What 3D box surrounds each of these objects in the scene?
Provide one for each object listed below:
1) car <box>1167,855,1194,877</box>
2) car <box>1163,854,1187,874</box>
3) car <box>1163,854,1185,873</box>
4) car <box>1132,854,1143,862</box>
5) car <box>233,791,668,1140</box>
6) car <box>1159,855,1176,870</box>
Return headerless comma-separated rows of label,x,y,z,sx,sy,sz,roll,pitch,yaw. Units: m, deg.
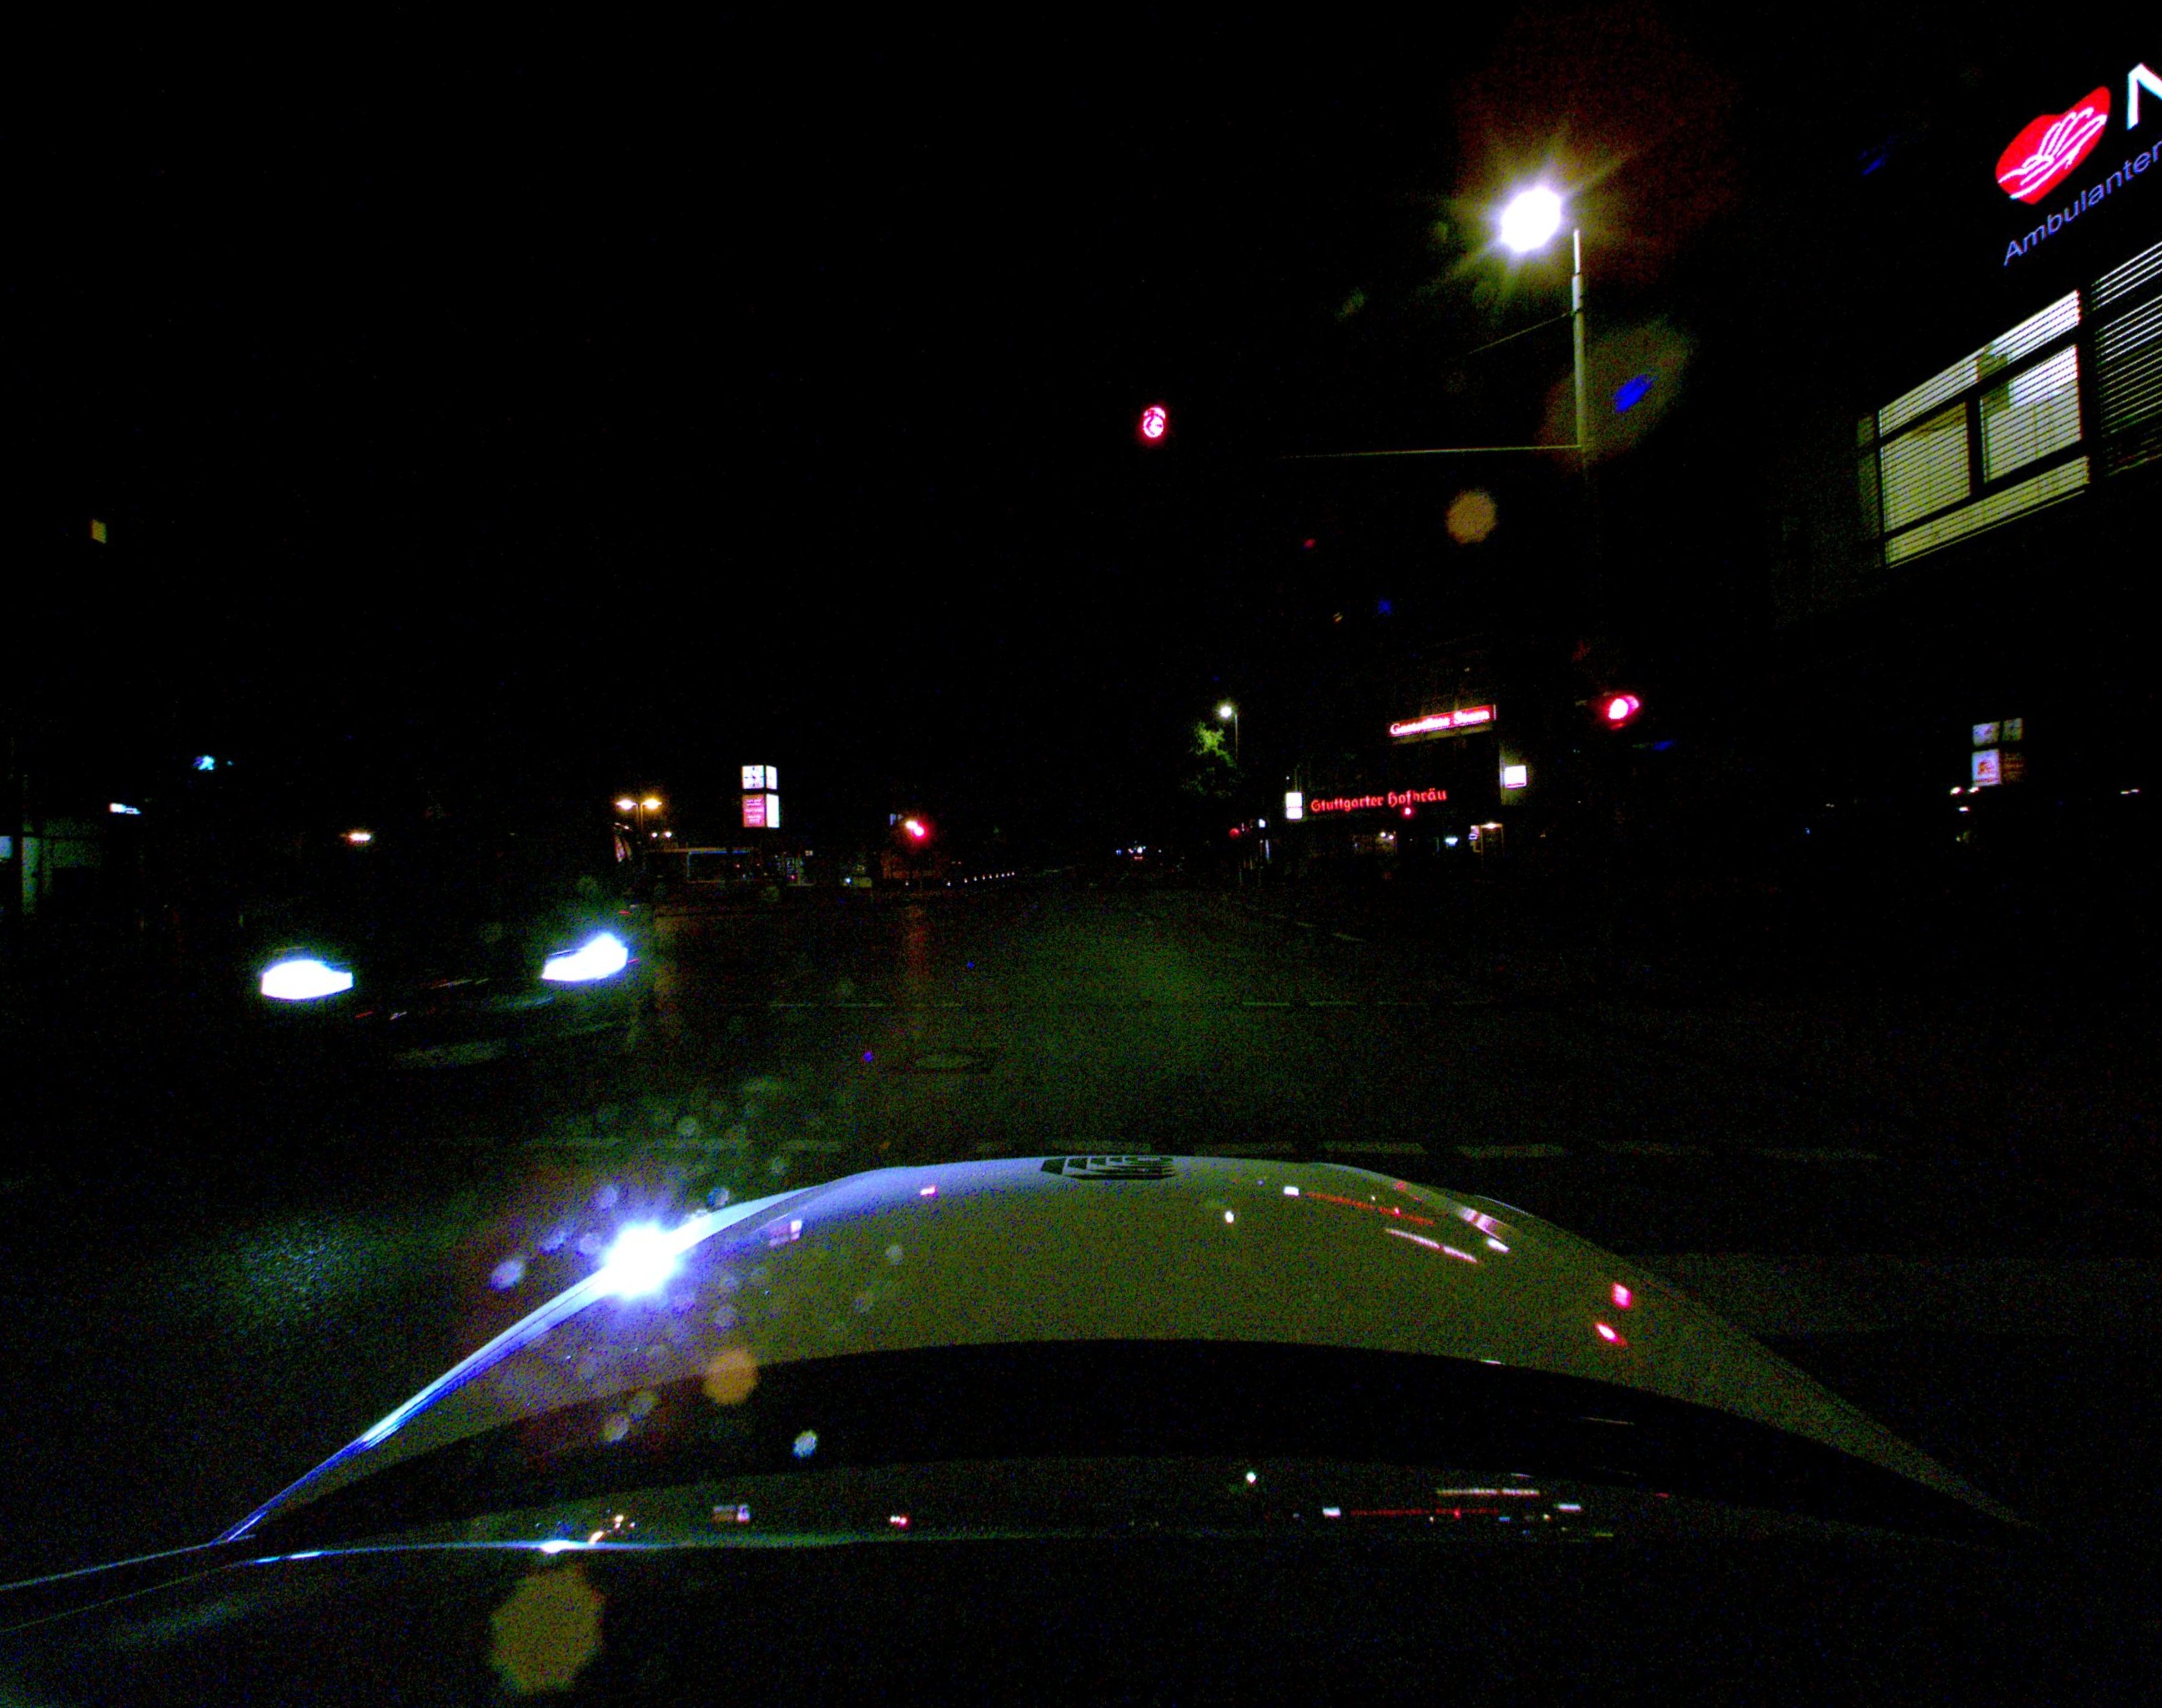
car,7.753,0.946,63.642,1.868,1.615,4.005,-2,-1,5
car,7.877,0.834,68.768,1.868,1.615,4.005,-2,-1,5
car,8.672,0.881,76.425,1.868,1.729,4.005,-2,-1,5
car,12.203,0.921,175.828,2.218,1.651,4.003,-1,0,3
car,-4.731,0.625,7.017,1.977,1.871,4.869,-1,-1,-26
car,10.034,0.942,94.481,1.868,1.683,4.005,-2,-1,5
